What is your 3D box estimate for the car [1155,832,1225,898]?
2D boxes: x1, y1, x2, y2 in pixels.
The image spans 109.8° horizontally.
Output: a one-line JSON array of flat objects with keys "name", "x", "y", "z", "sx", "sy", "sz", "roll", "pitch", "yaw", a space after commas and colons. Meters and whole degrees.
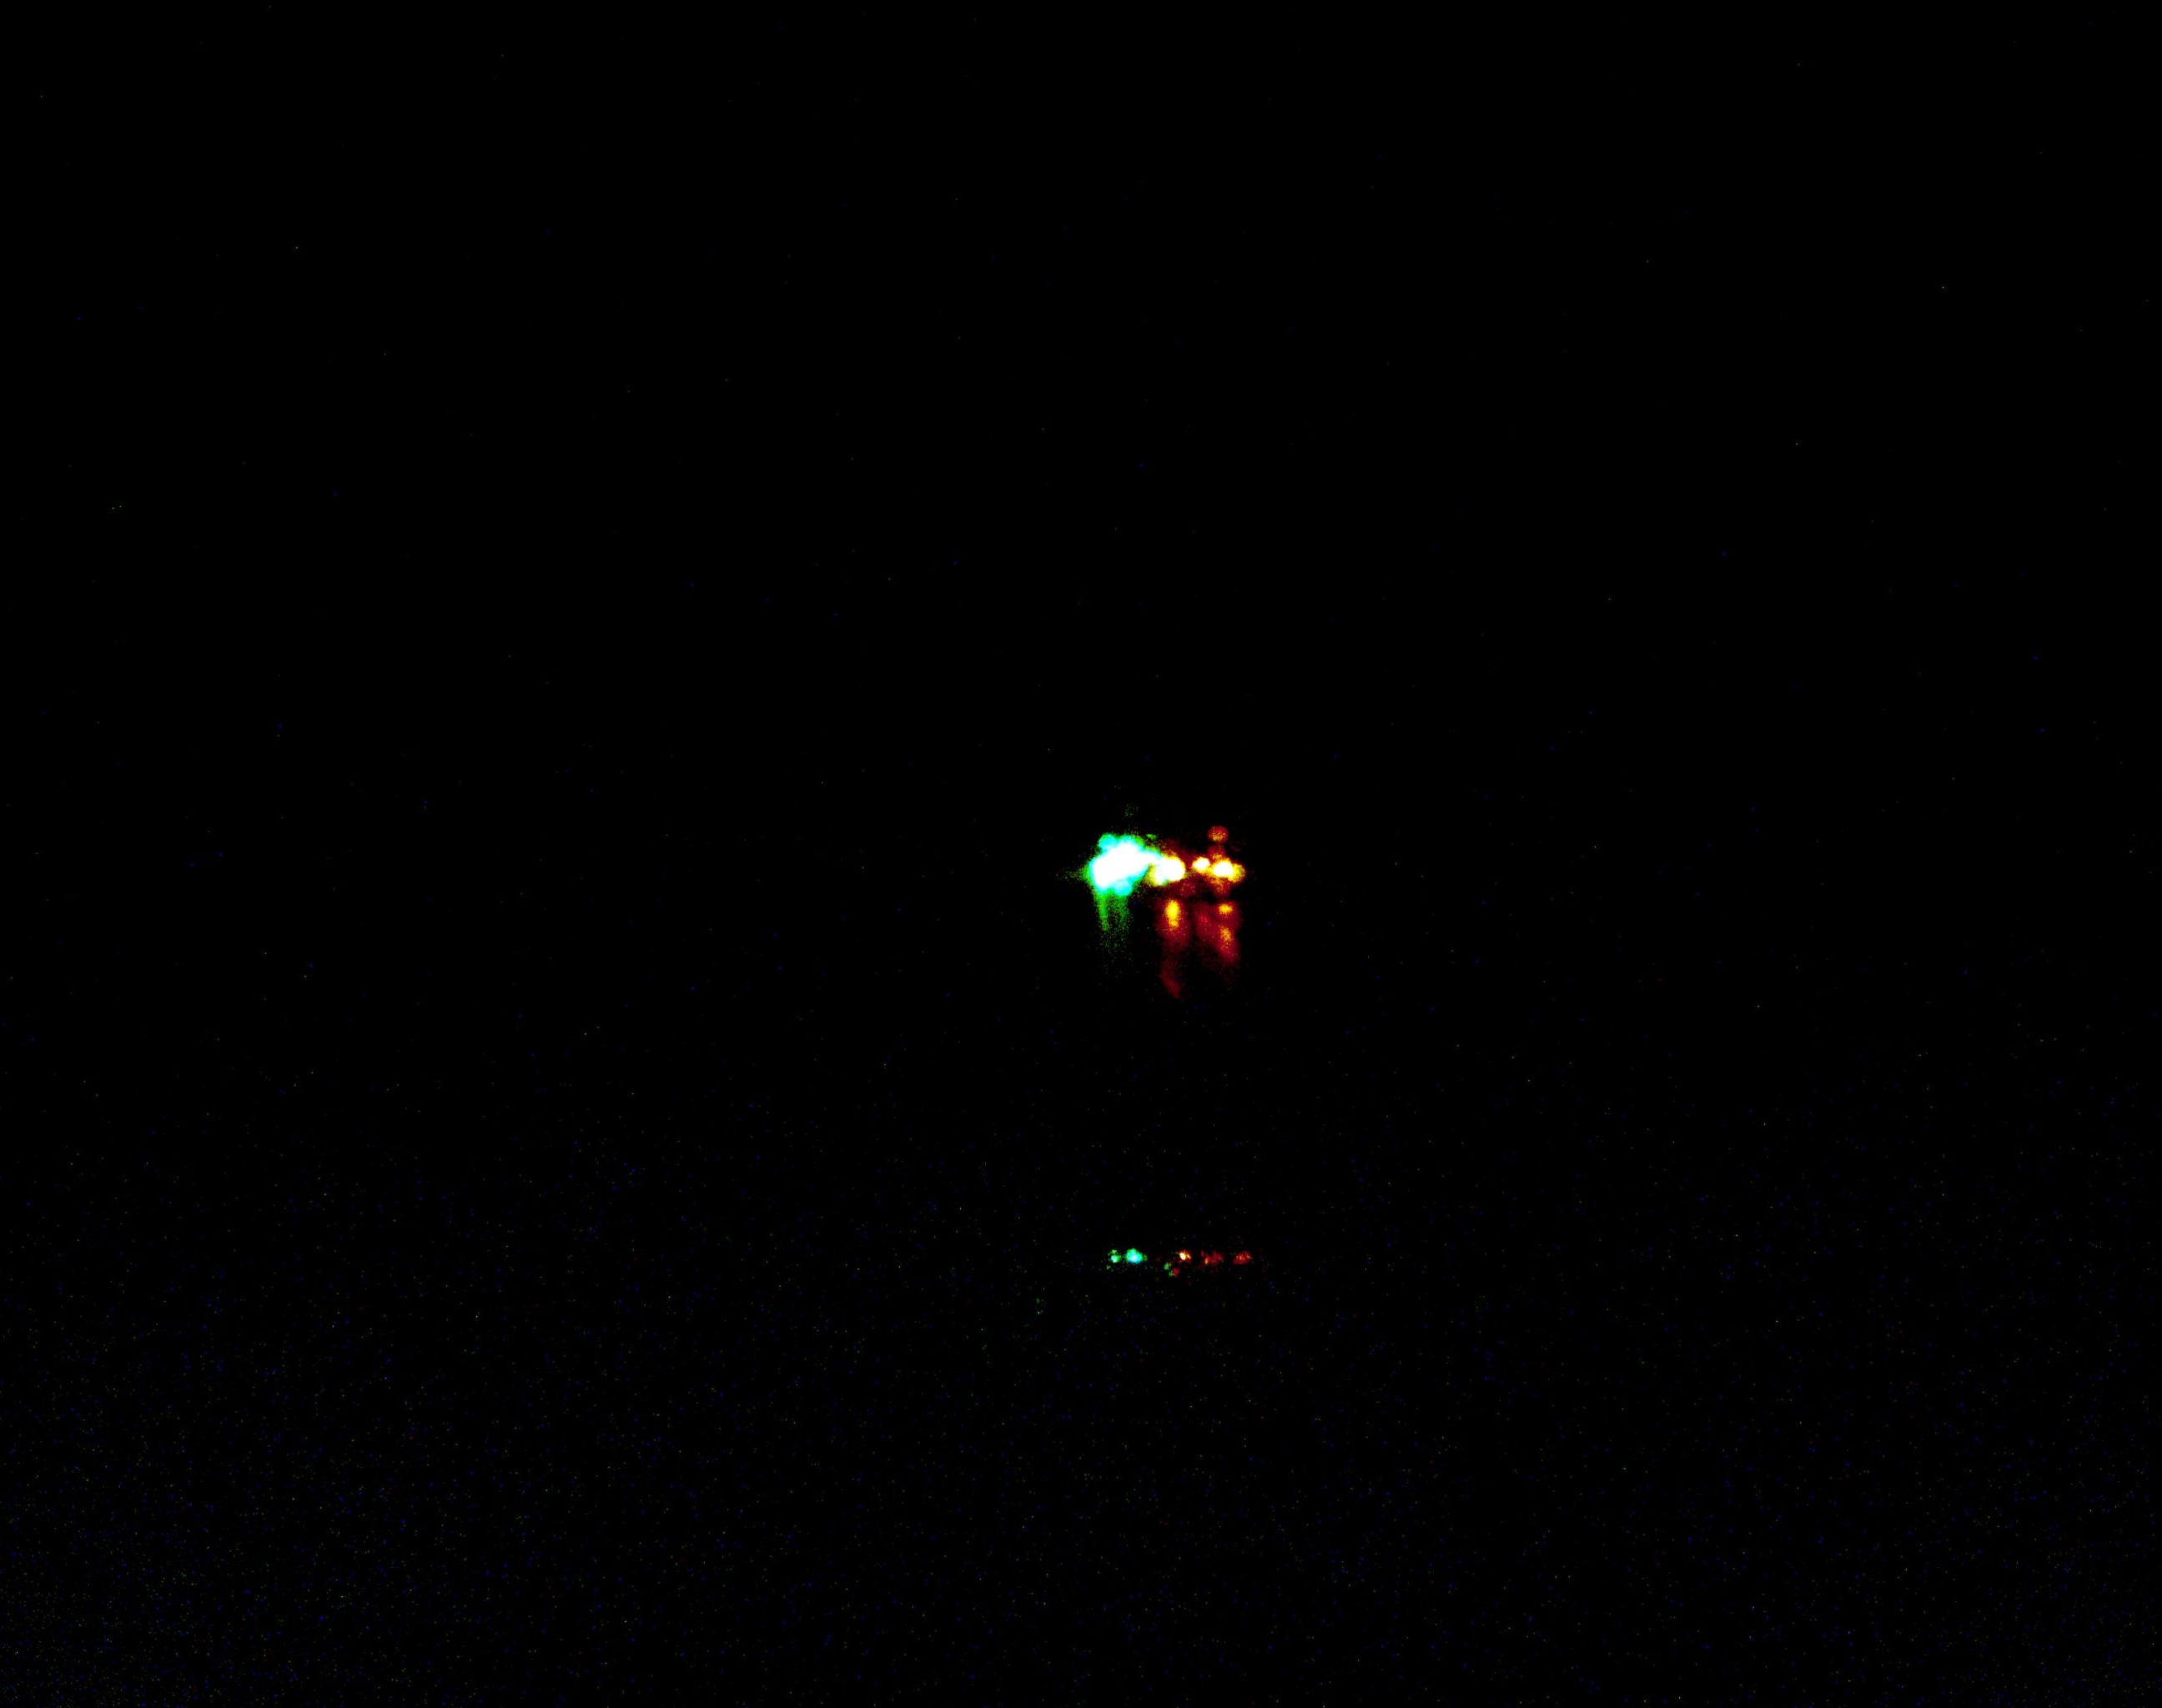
[{"name": "car", "x": 4.104, "y": 0.401, "z": 29.534, "sx": 1.998, "sy": 2.259, "sz": 5.468, "roll": -2, "pitch": 0, "yaw": 1}]

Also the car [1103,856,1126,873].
[{"name": "car", "x": 3.585, "y": 1.066, "z": 80.174, "sx": 1.877, "sy": 1.578, "sz": 4.892, "roll": -3, "pitch": 0, "yaw": 9}]

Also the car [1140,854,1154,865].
[{"name": "car", "x": 10.419, "y": 0.864, "z": 120.092, "sx": 1.930, "sy": 1.693, "sz": 4.001, "roll": -2, "pitch": 0, "yaw": 3}]
